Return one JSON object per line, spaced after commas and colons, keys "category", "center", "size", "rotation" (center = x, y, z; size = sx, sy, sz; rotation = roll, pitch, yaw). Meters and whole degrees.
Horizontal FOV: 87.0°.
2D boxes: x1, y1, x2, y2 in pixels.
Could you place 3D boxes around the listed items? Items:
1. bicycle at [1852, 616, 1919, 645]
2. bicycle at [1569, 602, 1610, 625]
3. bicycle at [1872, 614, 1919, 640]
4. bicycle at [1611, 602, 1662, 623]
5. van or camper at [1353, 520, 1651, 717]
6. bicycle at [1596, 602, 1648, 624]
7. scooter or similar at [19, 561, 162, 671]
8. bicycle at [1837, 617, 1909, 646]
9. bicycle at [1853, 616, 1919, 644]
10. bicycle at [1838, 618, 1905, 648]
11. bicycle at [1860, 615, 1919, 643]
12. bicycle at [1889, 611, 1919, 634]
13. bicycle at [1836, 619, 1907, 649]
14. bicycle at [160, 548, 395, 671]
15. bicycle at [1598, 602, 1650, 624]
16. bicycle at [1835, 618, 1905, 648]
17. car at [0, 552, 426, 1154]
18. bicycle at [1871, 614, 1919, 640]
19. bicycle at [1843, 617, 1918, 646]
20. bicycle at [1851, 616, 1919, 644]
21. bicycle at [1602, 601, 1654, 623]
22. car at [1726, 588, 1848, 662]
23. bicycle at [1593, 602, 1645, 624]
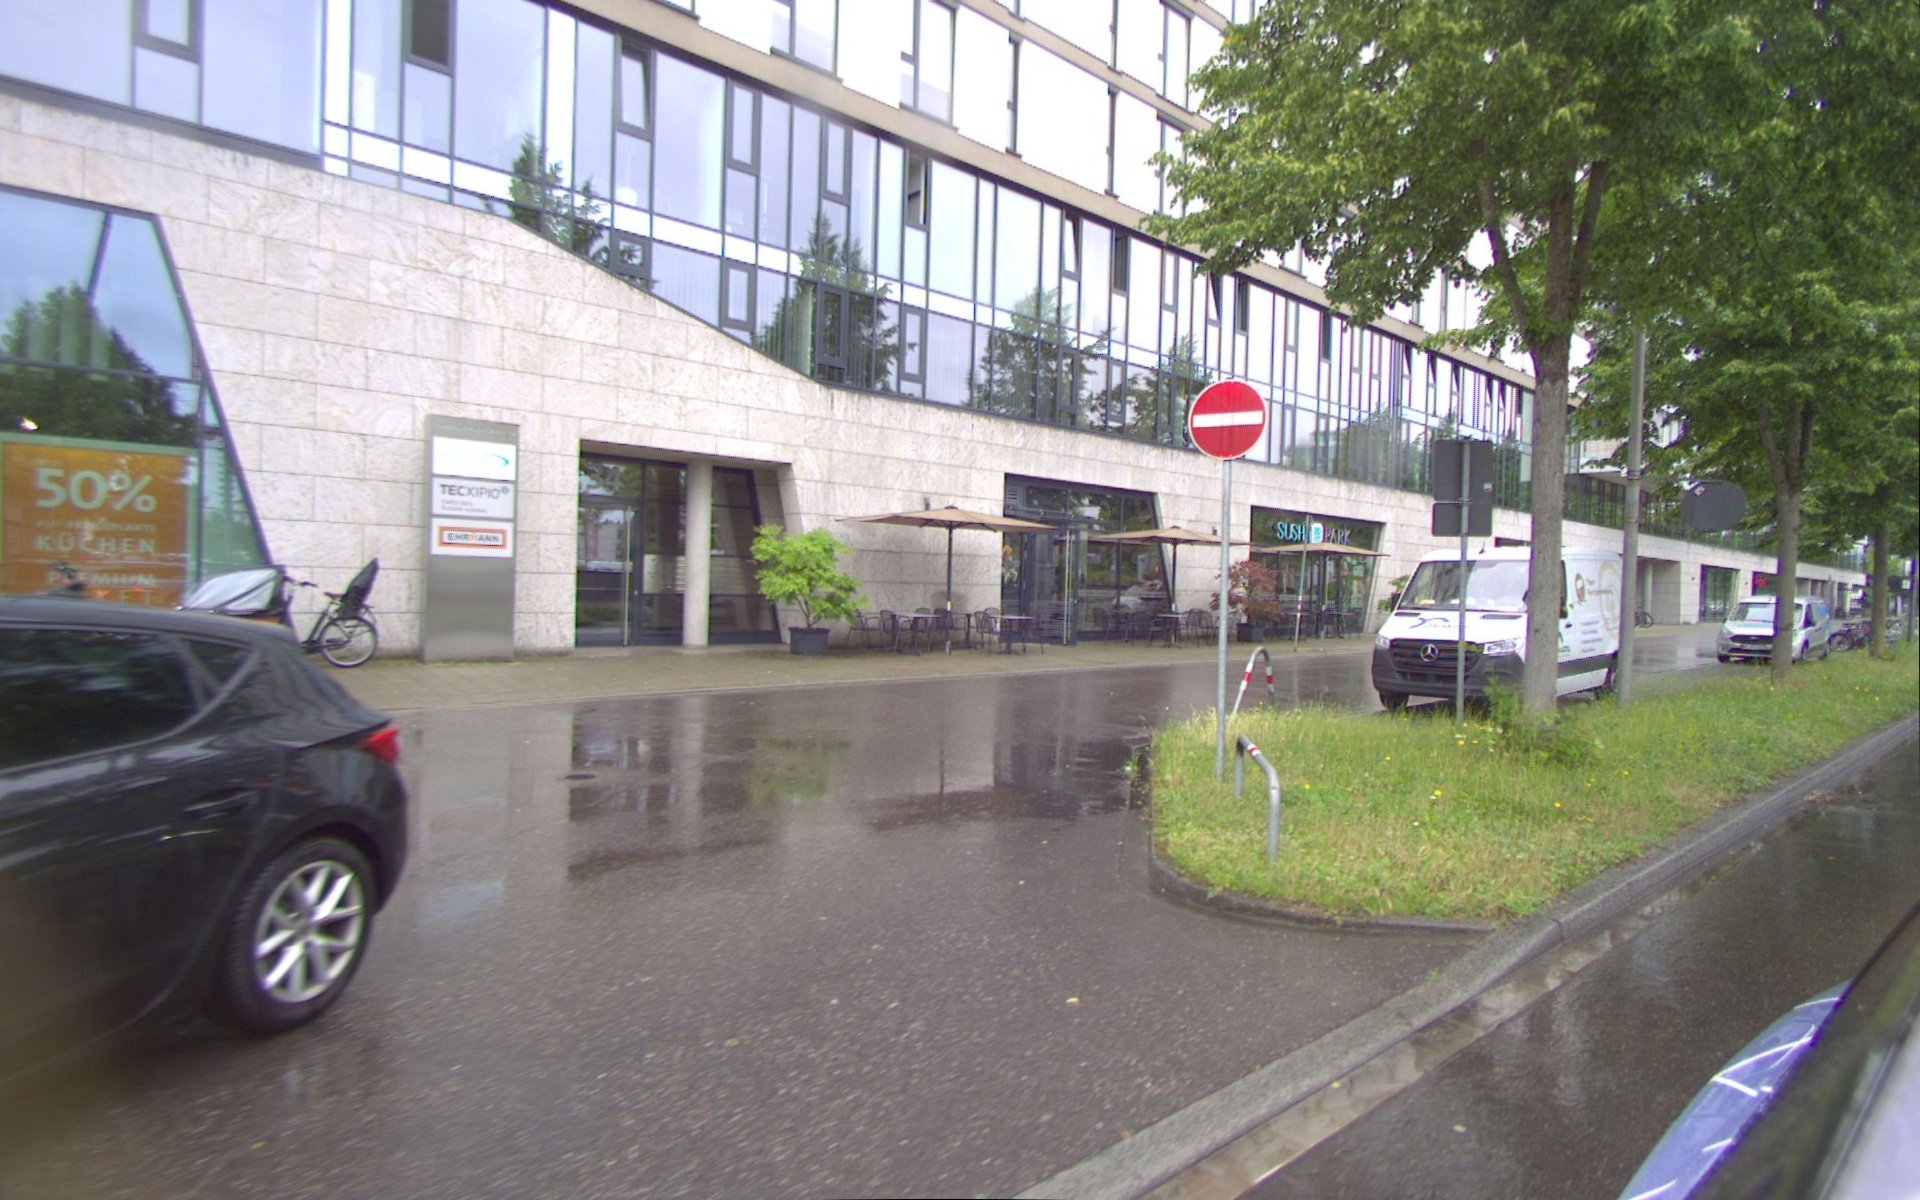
{"category": "bicycle", "center": [31.904, 1.041, 34.739], "size": [0.389, 0.958, 1.878], "rotation": [0, -1, -44]}
{"category": "bicycle", "center": [28.428, 0.590, 45.748], "size": [0.339, 0.957, 1.665], "rotation": [1, 2, -22]}
{"category": "bicycle", "center": [36.140, 1.016, 38.570], "size": [0.533, 0.958, 2.036], "rotation": [0, -1, -44]}
{"category": "bicycle", "center": [33.432, 0.600, 50.043], "size": [0.389, 0.957, 2.025], "rotation": [0, 2, -44]}
{"category": "van or camper", "center": [7.927, 0.199, 14.517], "size": [5.365, 2.321, 2.029], "rotation": [0, 1, -41]}
{"category": "bicycle", "center": [31.664, 0.598, 48.444], "size": [0.389, 0.957, 2.025], "rotation": [0, 2, -44]}
{"category": "scooter or similar", "center": [-10.098, 0.180, 11.790], "size": [1.214, 1.243, 0.343], "rotation": [0, -1, -21]}
{"category": "bicycle", "center": [30.783, 1.053, 34.143], "size": [0.389, 0.958, 1.789], "rotation": [0, -1, -44]}
{"category": "bicycle", "center": [32.576, 1.038, 35.362], "size": [0.389, 0.958, 2.036], "rotation": [0, -1, -44]}
{"category": "bicycle", "center": [30.409, 1.090, 33.781], "size": [0.389, 0.958, 1.645], "rotation": [0, -1, -44]}
{"category": "bicycle", "center": [33.594, 1.031, 36.206], "size": [0.389, 0.958, 2.036], "rotation": [0, -1, -44]}
{"category": "bicycle", "center": [39.591, 0.928, 41.606], "size": [0.510, 0.958, 2.036], "rotation": [0, -1, -44]}
{"category": "bicycle", "center": [29.942, 1.091, 33.251], "size": [0.389, 0.958, 1.695], "rotation": [0, -1, -44]}
{"category": "bicycle", "center": [-8.557, 0.129, 12.774], "size": [2.381, 1.420, 0.734], "rotation": [1, -2, -40]}
{"category": "bicycle", "center": [32.064, 0.598, 48.871], "size": [0.389, 0.957, 2.025], "rotation": [0, 2, -44]}
{"category": "bicycle", "center": [29.441, 1.065, 32.756], "size": [0.389, 0.958, 1.662], "rotation": [0, -1, -44]}
{"category": "car", "center": [-3.259, 0.601, 1.923], "size": [1.802, 1.438, 4.337], "rotation": [1, 1, 8]}
{"category": "bicycle", "center": [35.500, 1.019, 37.874], "size": [0.458, 0.958, 2.036], "rotation": [0, -1, -44]}
{"category": "bicycle", "center": [31.366, 1.048, 34.502], "size": [0.389, 0.958, 1.857], "rotation": [0, -1, -44]}
{"category": "bicycle", "center": [32.245, 1.037, 35.083], "size": [0.389, 0.958, 2.002], "rotation": [0, -1, -44]}
{"category": "bicycle", "center": [32.488, 0.587, 49.252], "size": [0.389, 0.957, 2.025], "rotation": [0, 2, -44]}
{"category": "car", "center": [21.832, 0.587, 26.650], "size": [4.764, 1.781, 1.744], "rotation": [0, 1, -41]}
{"category": "bicycle", "center": [31.196, 0.597, 47.935], "size": [0.389, 0.957, 2.025], "rotation": [0, 2, -44]}
